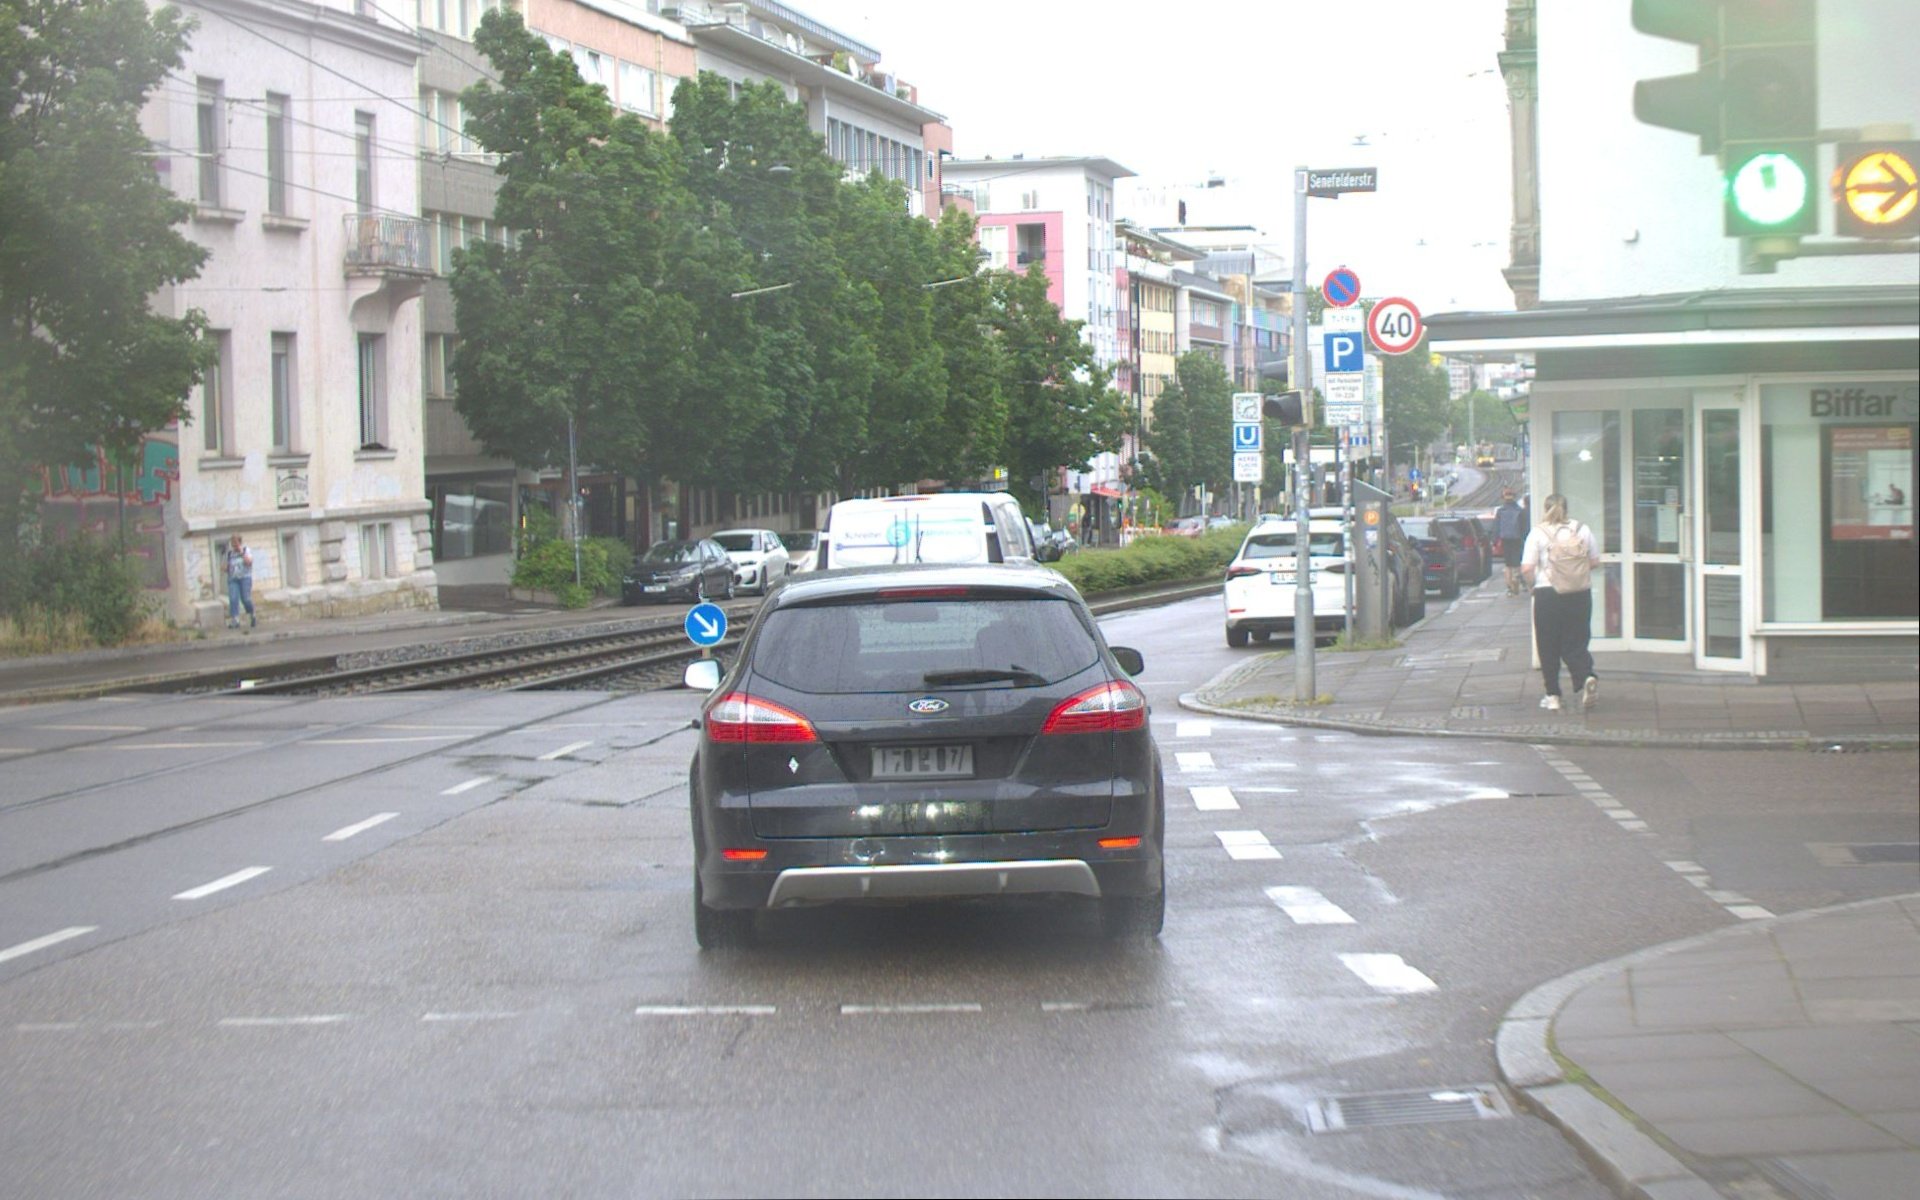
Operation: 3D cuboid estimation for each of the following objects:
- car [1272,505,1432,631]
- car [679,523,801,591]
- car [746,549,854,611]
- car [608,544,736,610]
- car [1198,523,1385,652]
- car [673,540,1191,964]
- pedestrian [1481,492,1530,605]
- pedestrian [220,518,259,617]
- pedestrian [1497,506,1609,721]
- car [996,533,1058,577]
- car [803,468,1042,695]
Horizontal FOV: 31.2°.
[{"bbox_3d":[5.501,-0.419,47.766,1.846,1.627,4.584,1,0,11],"label":"car"},{"bbox_3d":[-5.397,-1.052,84.970,1.856,1.543,4.718,2,0,11],"label":"car"},{"bbox_3d":[-4.213,-0.518,91.250,1.856,1.543,4.429,2,0,11],"label":"car"},{"bbox_3d":[-6.558,-0.506,78.832,1.694,1.373,4.718,2,0,11],"label":"car"},{"bbox_3d":[4.016,-0.136,41.055,1.802,1.450,4.584,0,0,11],"label":"car"},{"bbox_3d":[-0.098,0.545,14.225,1.842,1.502,4.000,0,0,0],"label":"car"},{"bbox_3d":[8.956,-0.847,56.415,0.703,1.813,0.961,-2,2,11],"label":"pedestrian"},{"bbox_3d":[-12.232,-0.543,58.363,0.467,1.646,0.582,3,0,-2],"label":"pedestrian"},{"bbox_3d":[4.381,0.099,25.443,0.688,1.567,0.763,0,0,-1],"label":"pedestrian"},{"bbox_3d":[2.562,-1.710,130.786,1.696,1.568,4.044,2,0,11],"label":"car"},{"bbox_3d":[-0.289,-0.228,33.768,1.989,2.053,4.645,1,2,4],"label":"car"}]
